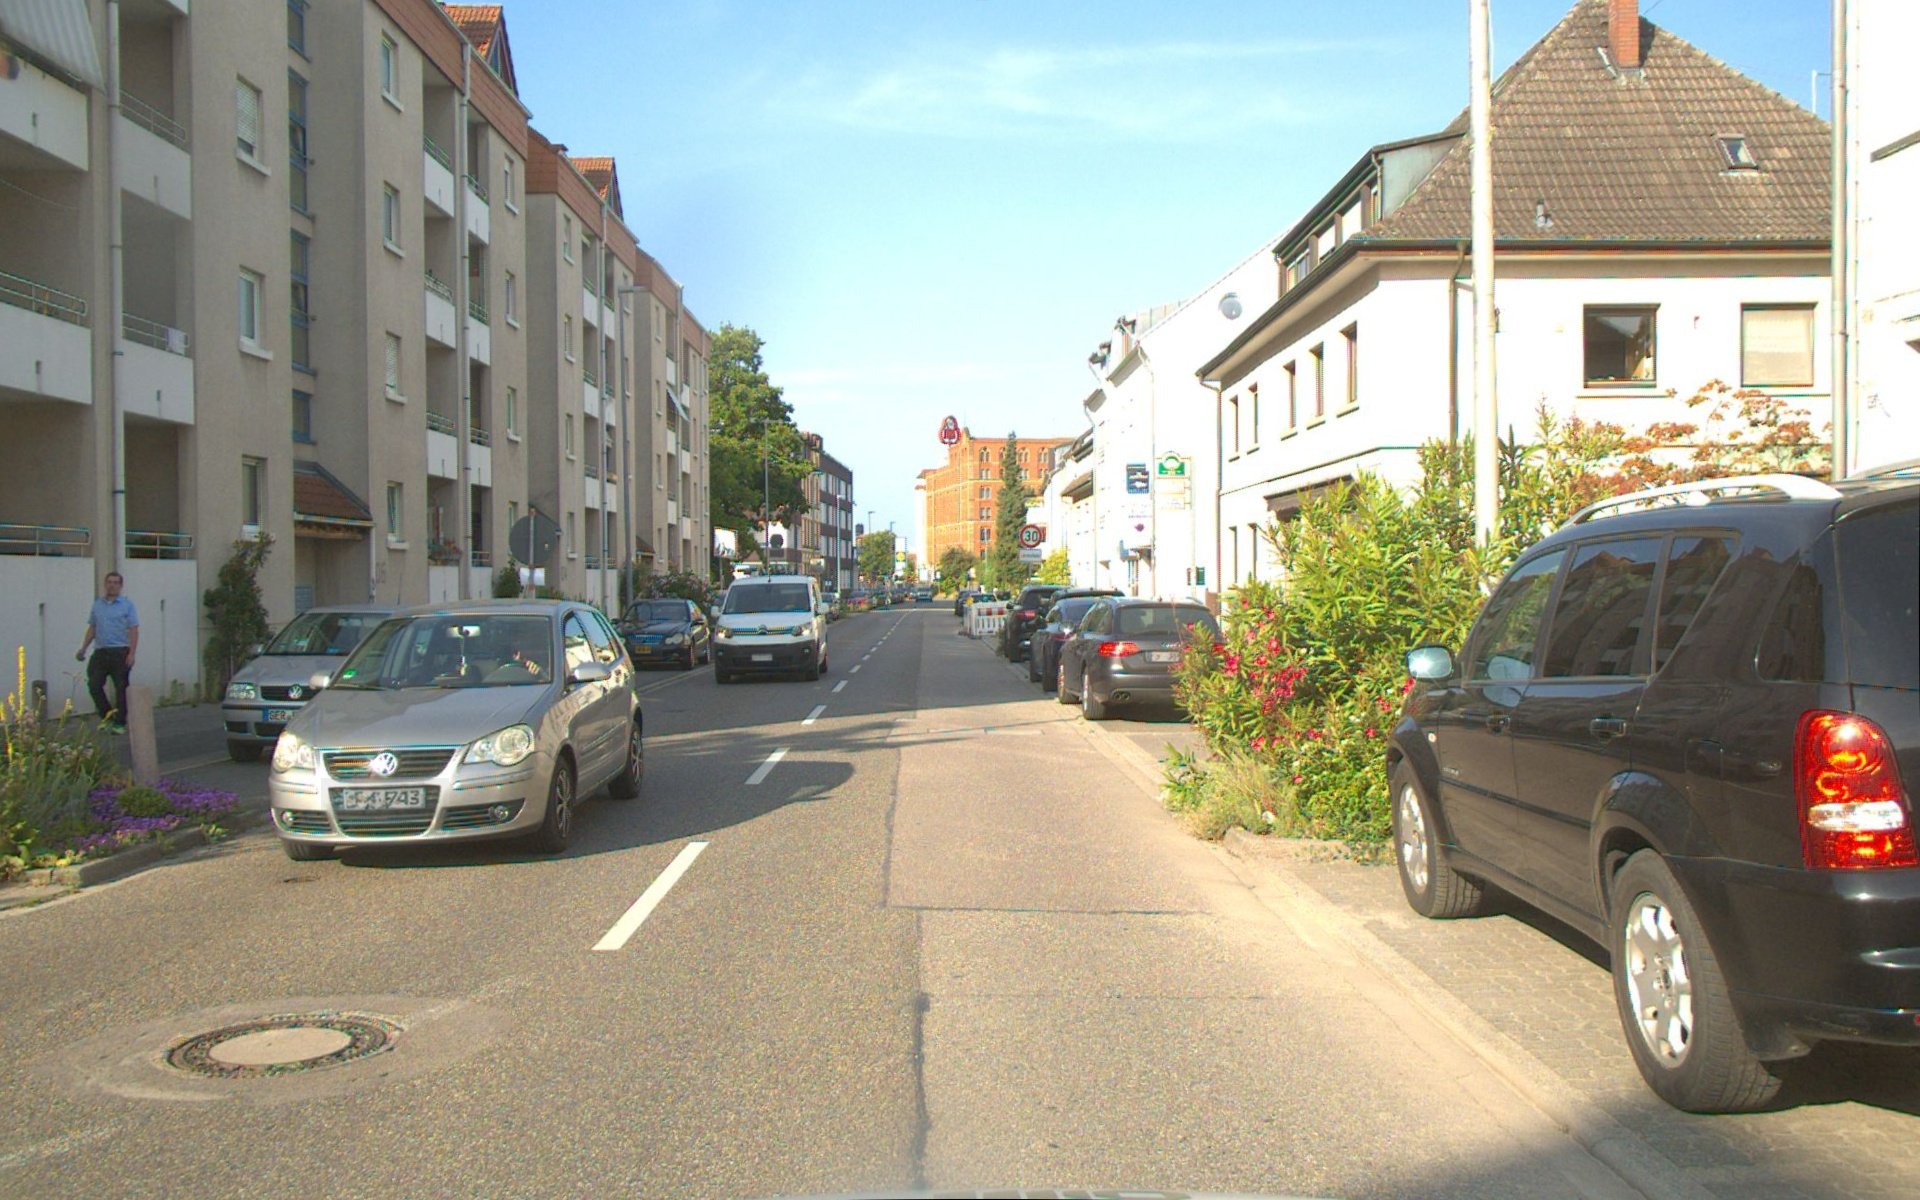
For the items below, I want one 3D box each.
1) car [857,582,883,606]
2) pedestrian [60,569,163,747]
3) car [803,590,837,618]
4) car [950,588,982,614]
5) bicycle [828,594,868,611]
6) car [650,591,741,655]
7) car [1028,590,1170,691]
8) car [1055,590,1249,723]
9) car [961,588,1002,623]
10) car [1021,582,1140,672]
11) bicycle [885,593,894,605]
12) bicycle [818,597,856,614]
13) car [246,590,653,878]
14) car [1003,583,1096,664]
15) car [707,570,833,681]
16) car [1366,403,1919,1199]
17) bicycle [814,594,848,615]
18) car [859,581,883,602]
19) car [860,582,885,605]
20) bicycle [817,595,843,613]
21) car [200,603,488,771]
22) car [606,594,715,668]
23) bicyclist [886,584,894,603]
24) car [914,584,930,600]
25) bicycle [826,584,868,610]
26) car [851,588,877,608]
[{"bbox_3d":[-7.700,-0.526,141.962,1.953,1.945,3.689,-1,0,0],"label":"car"},{"bbox_3d":[-8.999,0.598,17.559,0.704,1.850,0.745,0,1,-1],"label":"pedestrian"},{"bbox_3d":[-7.414,0.189,87.813,1.542,1.445,3.802,0,1,-2],"label":"car"},{"bbox_3d":[0.368,0.067,100.865,1.821,1.497,3.999,1,0,-2],"label":"car"},{"bbox_3d":[-7.990,0.159,118.121,2.716,1.164,1.143,-1,0,0],"label":"bicycle"},{"bbox_3d":[-6.824,0.558,42.977,1.691,1.582,3.965,0,1,0],"label":"car"},{"bbox_3d":[2.136,0.577,26.585,1.793,1.445,4.608,-1,1,-1],"label":"car"},{"bbox_3d":[2.282,0.616,20.762,1.743,1.445,4.494,-1,1,-2],"label":"car"},{"bbox_3d":[0.972,0.224,76.673,1.792,1.508,3.943,-1,1,0],"label":"car"},{"bbox_3d":[2.245,0.466,31.894,1.793,1.587,4.315,-1,0,-2],"label":"car"},{"bbox_3d":[-5.457,-0.087,128.399,0.596,0.959,1.811,0,0,1],"label":"bicycle"},{"bbox_3d":[-7.450,0.328,100.401,2.295,0.987,0.707,-1,0,-7],"label":"bicycle"},{"bbox_3d":[-3.068,0.702,10.694,1.585,1.480,3.684,-1,1,-2],"label":"car"},{"bbox_3d":[1.950,0.539,37.000,1.792,1.659,4.462,2,-1,0],"label":"car"},{"bbox_3d":[-3.288,0.390,29.408,1.883,1.798,4.336,-1,1,-2],"label":"car"},{"bbox_3d":[3.061,0.420,6.076,2.033,1.888,4.611,-2,1,1],"label":"car"},{"bbox_3d":[-7.764,0.251,99.548,1.962,1.238,0.707,-1,0,-7],"label":"bicycle"},{"bbox_3d":[-8.178,-0.782,152.126,1.953,1.914,4.000,0,0,-1],"label":"car"},{"bbox_3d":[-7.688,-0.580,146.040,1.953,1.941,4.000,-1,0,0],"label":"car"},{"bbox_3d":[-7.926,0.255,101.104,1.554,1.059,0.707,-1,0,-7],"label":"bicycle"},{"bbox_3d":[-5.892,0.759,16.253,1.607,1.420,3.669,0,0,-3],"label":"car"},{"bbox_3d":[-6.179,0.599,34.460,1.652,1.430,4.082,0,1,-2],"label":"car"},{"bbox_3d":[-5.464,-0.487,128.392,0.578,1.467,0.751,0,0,1],"label":"bicyclist"},{"bbox_3d":[-4.122,-0.878,178.535,1.728,1.644,3.999,-1,0,-1],"label":"car"},{"bbox_3d":[-7.967,-0.226,116.348,2.858,1.808,1.202,-1,0,0],"label":"bicycle"},{"bbox_3d":[-7.314,-0.167,126.051,1.803,1.489,3.584,0,0,-1],"label":"car"}]
